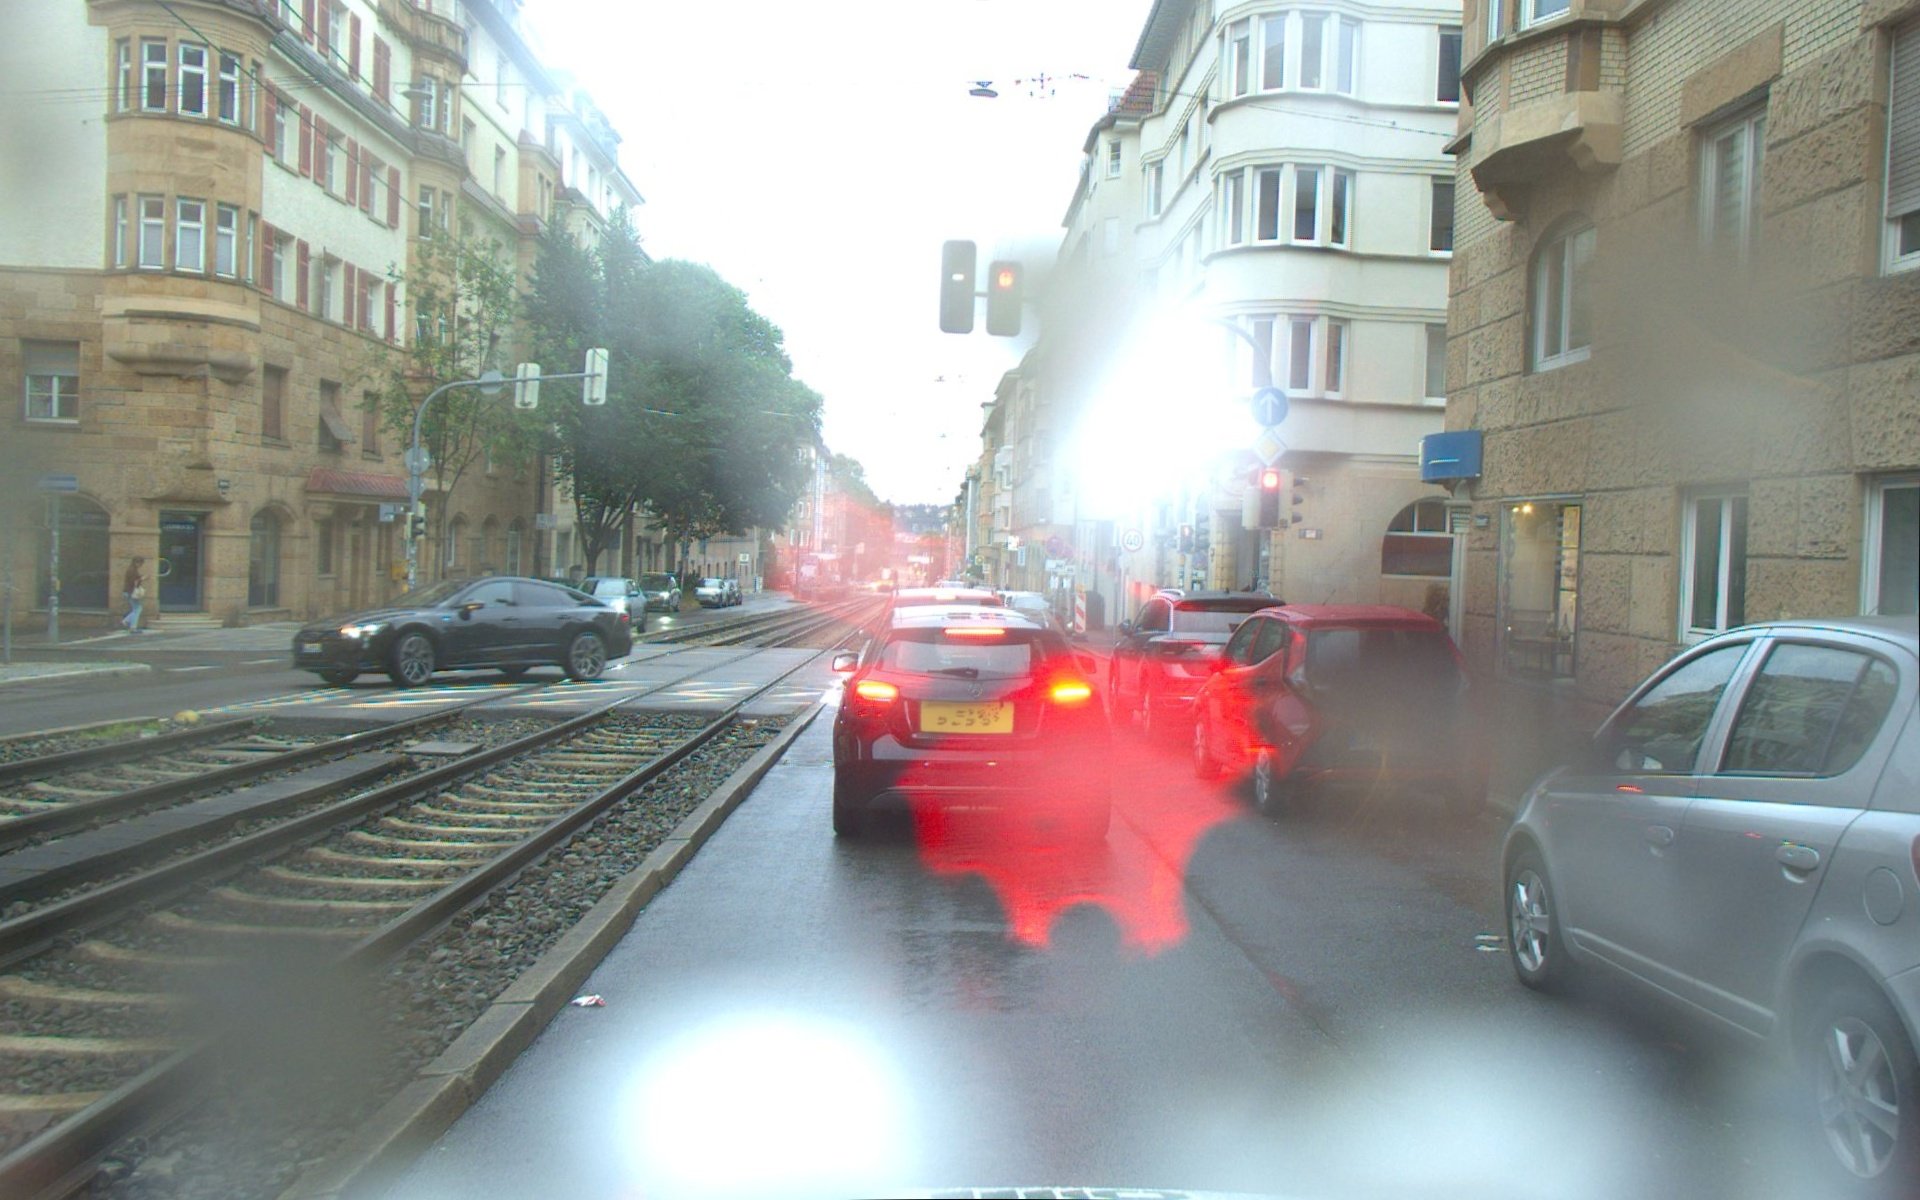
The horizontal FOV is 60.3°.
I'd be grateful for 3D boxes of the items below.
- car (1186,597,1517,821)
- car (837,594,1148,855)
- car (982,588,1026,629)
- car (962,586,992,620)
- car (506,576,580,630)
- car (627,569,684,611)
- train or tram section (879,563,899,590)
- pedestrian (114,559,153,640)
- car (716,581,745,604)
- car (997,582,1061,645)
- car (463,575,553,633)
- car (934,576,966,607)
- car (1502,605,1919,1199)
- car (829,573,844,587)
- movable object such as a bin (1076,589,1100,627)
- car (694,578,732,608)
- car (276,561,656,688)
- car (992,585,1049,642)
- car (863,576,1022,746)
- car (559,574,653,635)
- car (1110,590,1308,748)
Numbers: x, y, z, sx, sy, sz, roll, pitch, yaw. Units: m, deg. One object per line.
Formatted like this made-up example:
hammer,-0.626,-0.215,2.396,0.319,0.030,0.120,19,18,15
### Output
car,2.877,0.739,12.830,1.609,1.473,3.297,1,0,-3
car,0.161,0.721,11.724,1.792,1.483,4.103,1,0,-1
car,1.684,0.325,63.820,1.513,1.512,3.547,1,0,-1
car,0.756,0.133,75.879,1.268,1.467,2.928,1,0,-1
car,-13.266,0.099,52.809,1.683,1.639,3.914,1,0,-5
car,-13.531,-0.419,73.792,1.837,1.767,3.917,1,0,-1
train or tram section,-10.847,-3.549,252.618,2.726,3.928,10.427,1,0,-1
pedestrian,-17.658,-0.013,35.355,0.691,1.702,0.628,1,-1,-25
car,-13.967,-0.440,100.659,1.419,1.354,3.270,1,0,-2
car,1.841,0.346,44.937,1.513,1.618,3.547,1,0,-1
car,-13.007,0.116,47.782,1.718,1.579,4.032,1,0,-4
car,-0.640,-0.520,105.543,1.953,1.909,3.999,1,0,-1
car,3.087,0.777,5.371,1.581,1.493,3.312,0,0,0
car,-12.318,-1.985,165.216,1.349,1.271,3.296,1,0,-2
movable object such as a bin,4.783,0.303,61.912,0.859,1.413,0.983,1,-1,3
car,-13.609,-0.386,91.254,1.557,1.608,3.917,1,0,-1
car,-6.691,0.318,22.942,1.774,1.550,4.941,1,0,38
car,1.775,0.374,49.411,1.513,1.618,3.547,1,0,-1
car,-0.200,0.607,18.108,1.533,1.637,3.813,1,0,-1
car,-10.043,0.134,47.210,1.860,1.615,3.972,1,0,-1
car,2.607,0.668,18.066,1.513,1.512,3.829,1,0,-1
